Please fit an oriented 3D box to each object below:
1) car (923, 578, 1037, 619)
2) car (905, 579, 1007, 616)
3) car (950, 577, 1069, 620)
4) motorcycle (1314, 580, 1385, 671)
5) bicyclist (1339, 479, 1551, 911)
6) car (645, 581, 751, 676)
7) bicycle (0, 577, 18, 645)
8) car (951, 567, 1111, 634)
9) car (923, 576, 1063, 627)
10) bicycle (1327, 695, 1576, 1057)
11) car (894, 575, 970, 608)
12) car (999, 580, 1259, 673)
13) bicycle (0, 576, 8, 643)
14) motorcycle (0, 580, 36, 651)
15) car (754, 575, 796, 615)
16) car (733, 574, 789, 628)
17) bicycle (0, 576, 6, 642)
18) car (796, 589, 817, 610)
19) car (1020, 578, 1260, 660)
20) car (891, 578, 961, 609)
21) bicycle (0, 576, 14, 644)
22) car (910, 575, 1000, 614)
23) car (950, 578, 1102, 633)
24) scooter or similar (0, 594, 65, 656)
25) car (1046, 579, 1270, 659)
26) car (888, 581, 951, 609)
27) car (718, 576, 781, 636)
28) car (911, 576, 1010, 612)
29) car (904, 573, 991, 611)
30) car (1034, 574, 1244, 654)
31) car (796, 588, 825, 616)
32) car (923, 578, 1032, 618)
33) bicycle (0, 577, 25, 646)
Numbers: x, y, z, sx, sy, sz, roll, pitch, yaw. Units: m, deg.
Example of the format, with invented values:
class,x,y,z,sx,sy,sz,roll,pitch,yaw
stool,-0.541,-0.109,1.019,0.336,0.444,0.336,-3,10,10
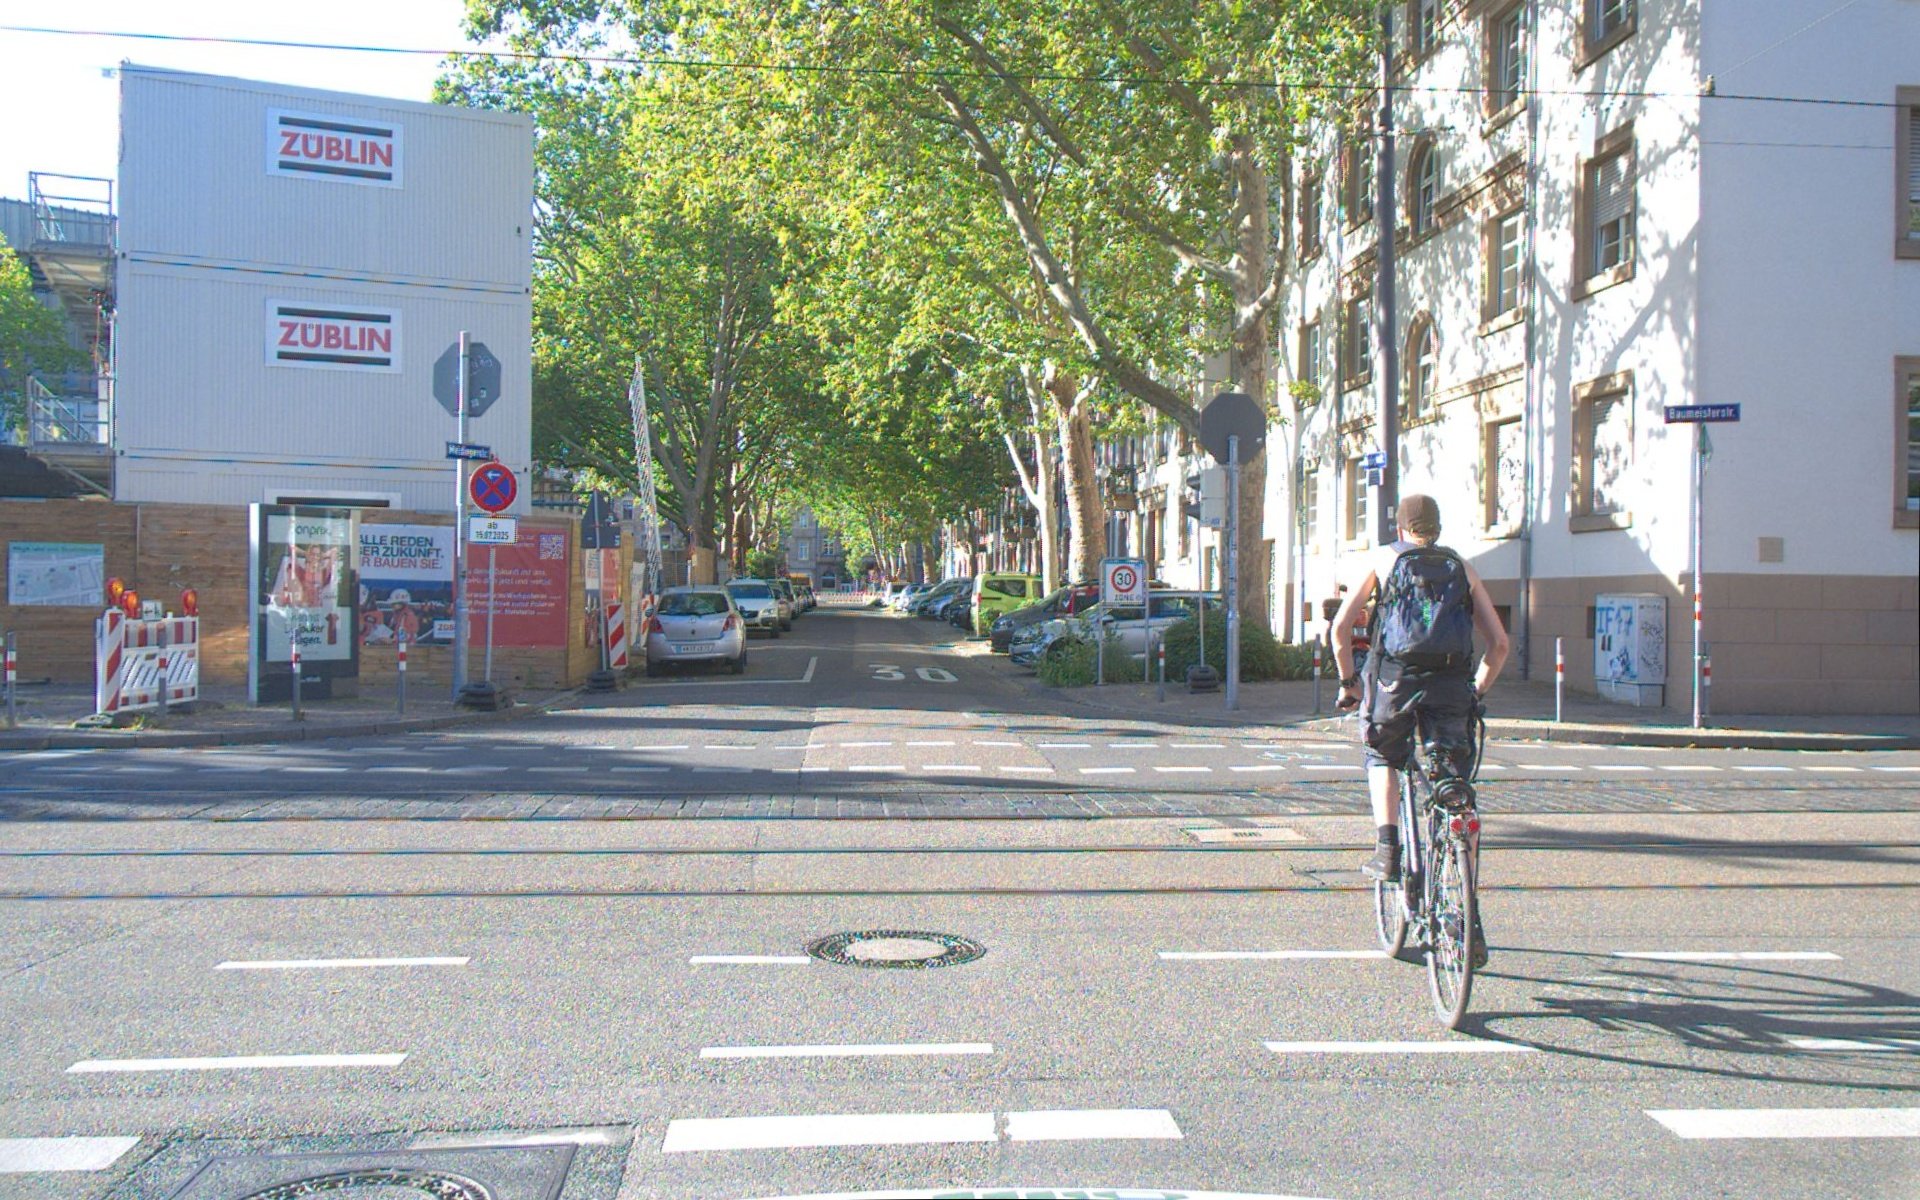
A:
class,x,y,z,sx,sy,sz,roll,pitch,yaw
car,0.770,-0.078,65.979,4.375,1.598,1.726,0,0,-6
car,-0.182,-0.111,73.161,4.375,1.598,1.726,0,0,-6
car,1.860,-0.067,62.857,4.375,1.598,1.726,0,0,-6
motorcycle,6.015,0.376,25.622,0.504,1.356,1.761,0,1,-6
bicyclist,1.832,0.336,6.335,0.662,1.539,0.669,2,0,10
car,-4.643,0.452,29.708,1.612,1.520,3.995,-2,1,-6
bicycle,-18.726,0.206,30.790,2.033,1.279,0.464,-1,1,-43
car,2.001,0.004,47.473,4.376,1.868,1.726,0,0,-6
car,1.032,0.042,53.365,4.375,1.598,1.726,0,0,-6
bicycle,1.817,0.953,6.365,0.675,1.034,1.909,2,0,10
car,-1.676,-0.495,98.325,4.375,1.931,1.726,0,0,-6
car,2.966,0.451,29.537,4.375,1.598,1.726,0,0,-6
bicycle,-19.370,0.192,31.558,2.033,1.279,0.464,-1,1,-43
motorcycle,-17.790,0.278,29.550,2.193,1.279,0.535,-1,2,-43
car,-7.598,-0.234,68.149,1.633,1.590,4.610,0,1,-6
car,-6.157,0.009,51.474,1.633,1.590,4.513,0,1,-6
bicycle,-19.667,0.187,32.018,2.033,1.279,0.535,-1,1,-43
car,-11.946,-0.035,128.656,1.633,1.590,4.214,0,1,-6
car,3.440,0.353,32.038,4.375,1.526,1.726,0,0,-6
car,-2.187,-0.431,105.733,4.375,1.931,1.726,0,0,-6
bicycle,-19.037,0.199,31.178,2.033,1.279,0.464,-1,1,-43
car,-0.268,-0.284,82.818,4.375,1.931,1.726,0,0,-6
car,1.940,0.147,49.490,4.375,1.598,1.726,0,0,-6
scooter or similar,-16.380,0.424,28.925,0.376,1.038,1.489,1,1,14
car,4.082,0.382,34.467,4.375,1.598,1.726,0,0,-6
car,-2.913,-0.372,117.878,4.375,1.931,1.726,0,0,-6
car,-5.784,0.140,45.786,1.633,1.590,3.995,0,1,-6
car,0.018,-0.258,75.503,4.375,1.598,1.726,0,0,-6
car,-0.651,-0.418,85.561,4.375,1.931,1.726,0,0,-6
car,3.918,0.297,36.545,4.375,1.700,1.726,0,0,-6
car,-8.927,0.113,98.603,1.633,1.590,4.214,0,1,-6
car,0.713,-0.082,68.455,4.375,1.598,1.726,0,0,-6
bicycle,-18.402,0.211,30.447,2.033,1.279,0.464,-1,1,-43
